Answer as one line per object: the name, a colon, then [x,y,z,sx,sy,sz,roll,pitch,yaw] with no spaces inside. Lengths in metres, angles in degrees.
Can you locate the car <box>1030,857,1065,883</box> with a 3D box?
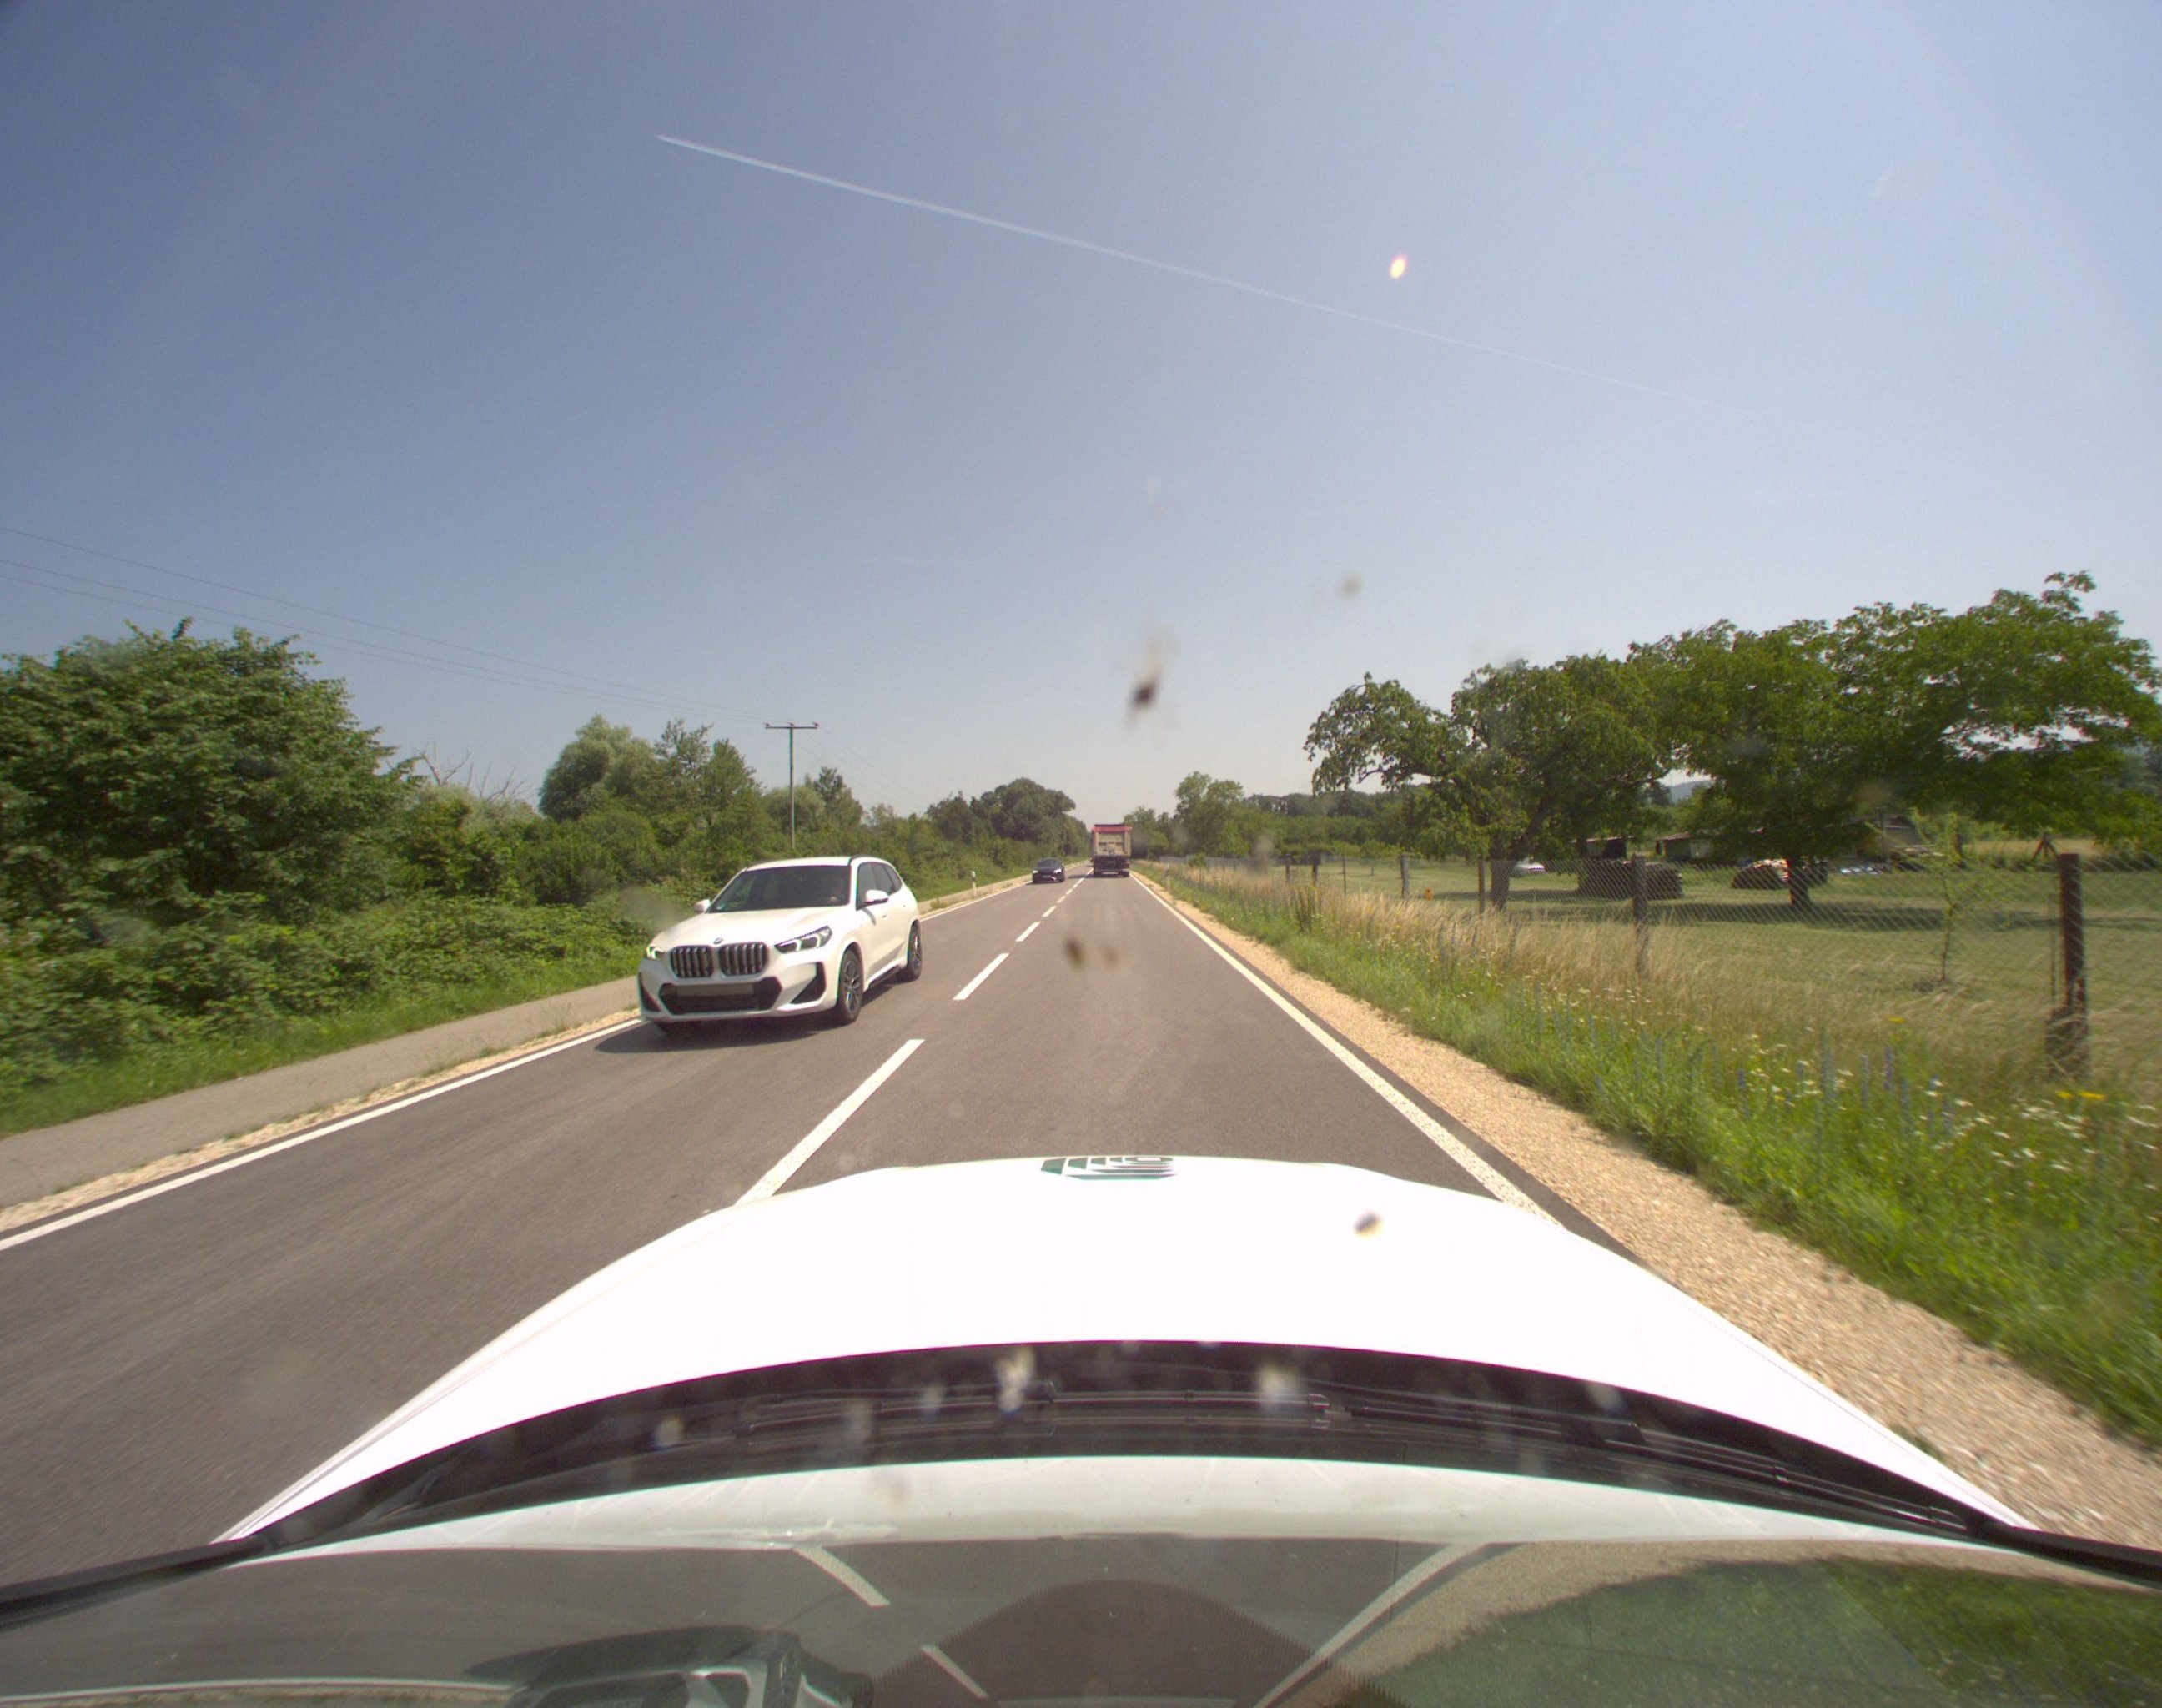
car: [-1.933,0.922,48.474,1.752,1.357,4.047,-3,0,1]

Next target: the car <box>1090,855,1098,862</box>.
car: [3.197,1.085,195.655,1.752,1.540,4.047,-3,0,1]

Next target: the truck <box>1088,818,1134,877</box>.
truck: [2.177,-0.407,59.745,2.998,3.874,12.213,1,0,2]

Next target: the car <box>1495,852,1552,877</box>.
car: [28.940,0.656,53.377,1.591,1.486,3.420,-1,1,-6]

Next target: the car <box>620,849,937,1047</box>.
car: [-3.006,0.818,9.262,1.752,1.606,4.482,-3,0,1]
